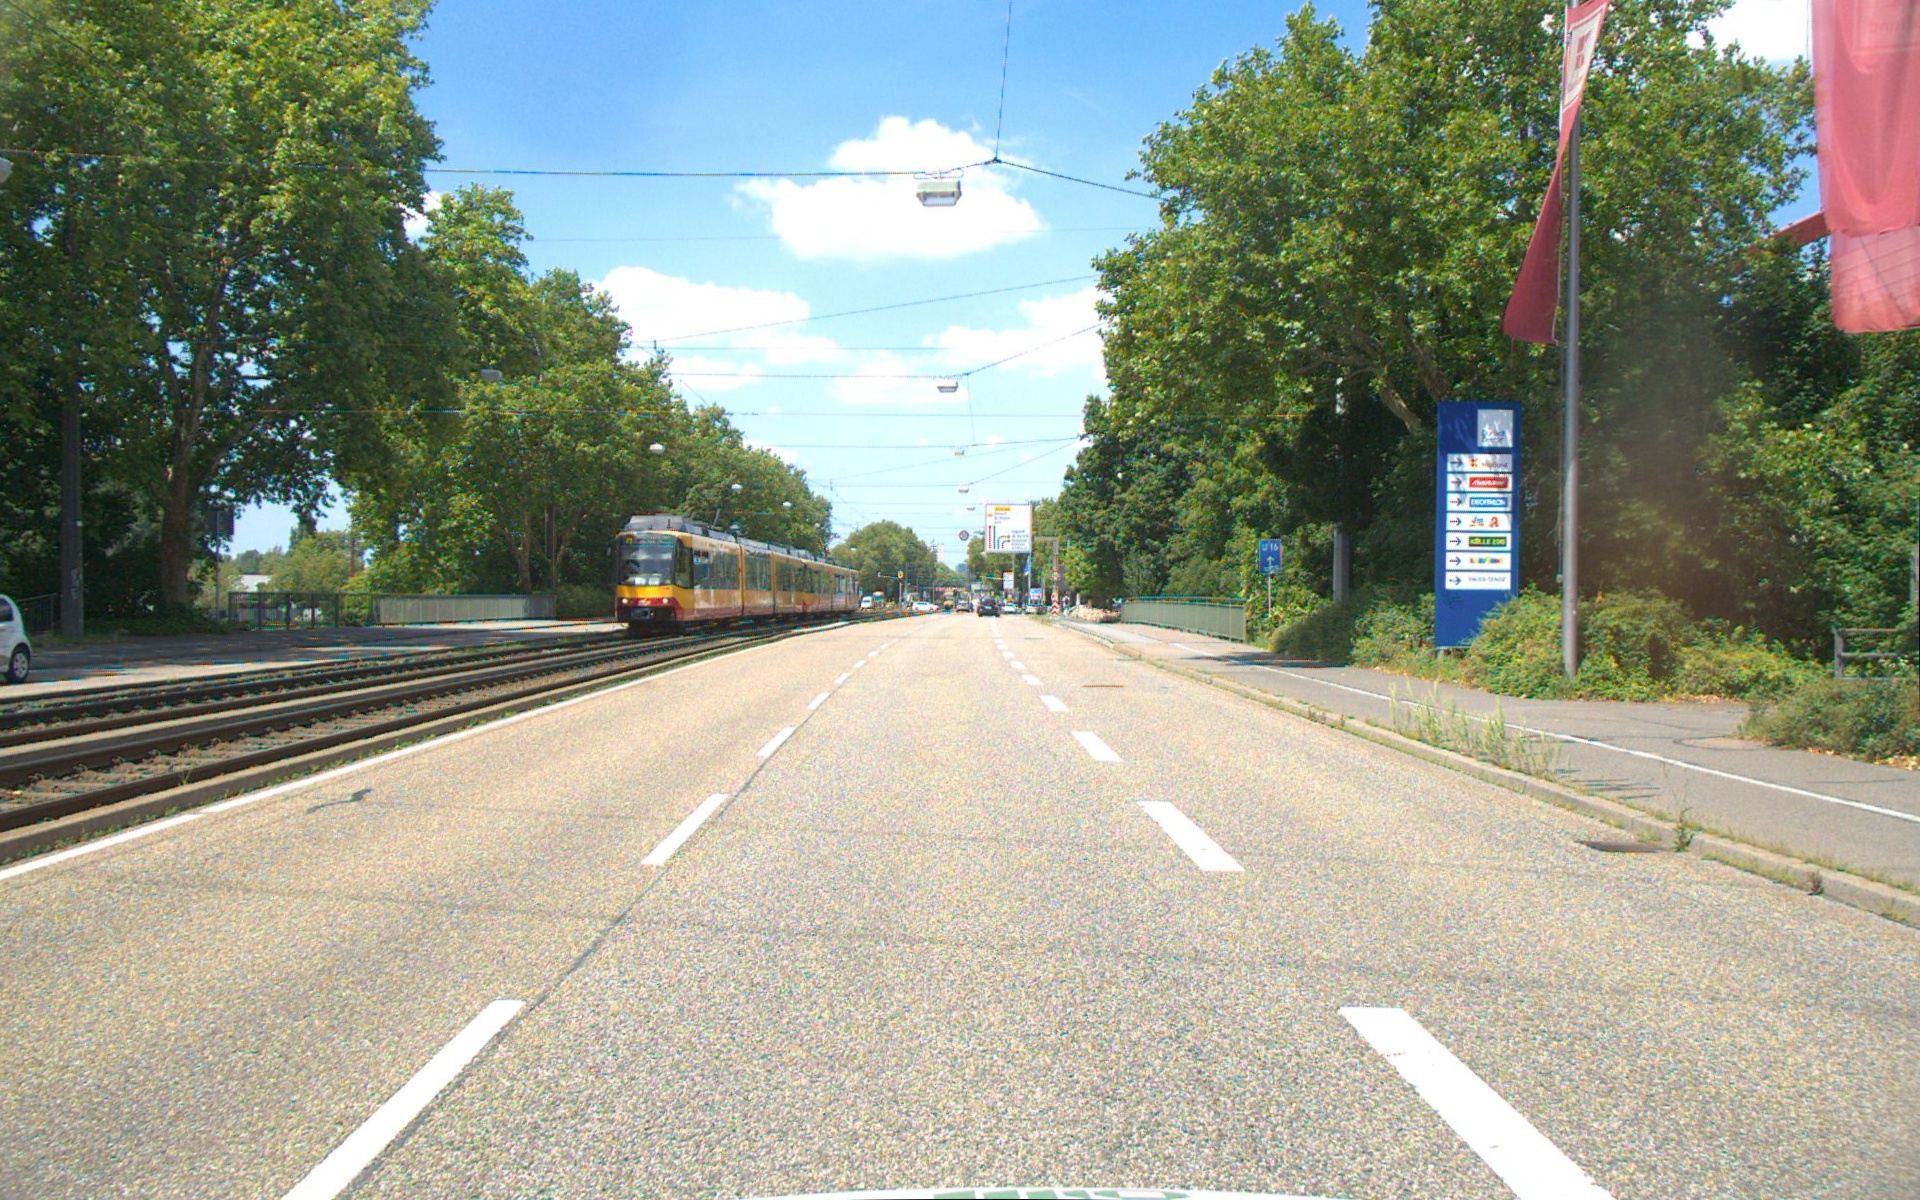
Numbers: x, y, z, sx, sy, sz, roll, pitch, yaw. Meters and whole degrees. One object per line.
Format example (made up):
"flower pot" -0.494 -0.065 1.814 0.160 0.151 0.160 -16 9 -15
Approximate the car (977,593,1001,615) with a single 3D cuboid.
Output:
"car" 2.490 0.371 142.883 1.861 1.837 3.975 2 0 -1

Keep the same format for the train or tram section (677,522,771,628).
"train or tram section" -10.141 -1.027 71.906 2.986 4.342 8.002 0 0 0

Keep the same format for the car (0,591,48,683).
"car" -16.110 0.610 25.928 1.604 1.461 3.720 -1 0 -2

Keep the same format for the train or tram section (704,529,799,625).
"train or tram section" -10.157 -1.058 82.134 2.986 4.342 14.035 0 0 0

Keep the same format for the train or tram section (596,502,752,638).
"train or tram section" -10.147 -0.983 60.697 2.986 4.342 15.423 0 0 0

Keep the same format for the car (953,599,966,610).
"car" -0.055 0.619 235.636 1.805 1.577 3.776 2 0 -1

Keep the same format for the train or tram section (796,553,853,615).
"train or tram section" -9.739 -1.093 120.363 2.975 4.213 13.981 0 0 0

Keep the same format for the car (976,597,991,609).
"car" 3.062 0.371 218.497 1.838 1.566 3.776 2 0 0

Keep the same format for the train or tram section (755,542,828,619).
"train or tram section" -9.838 -1.083 98.050 2.976 4.227 13.481 0 0 0
